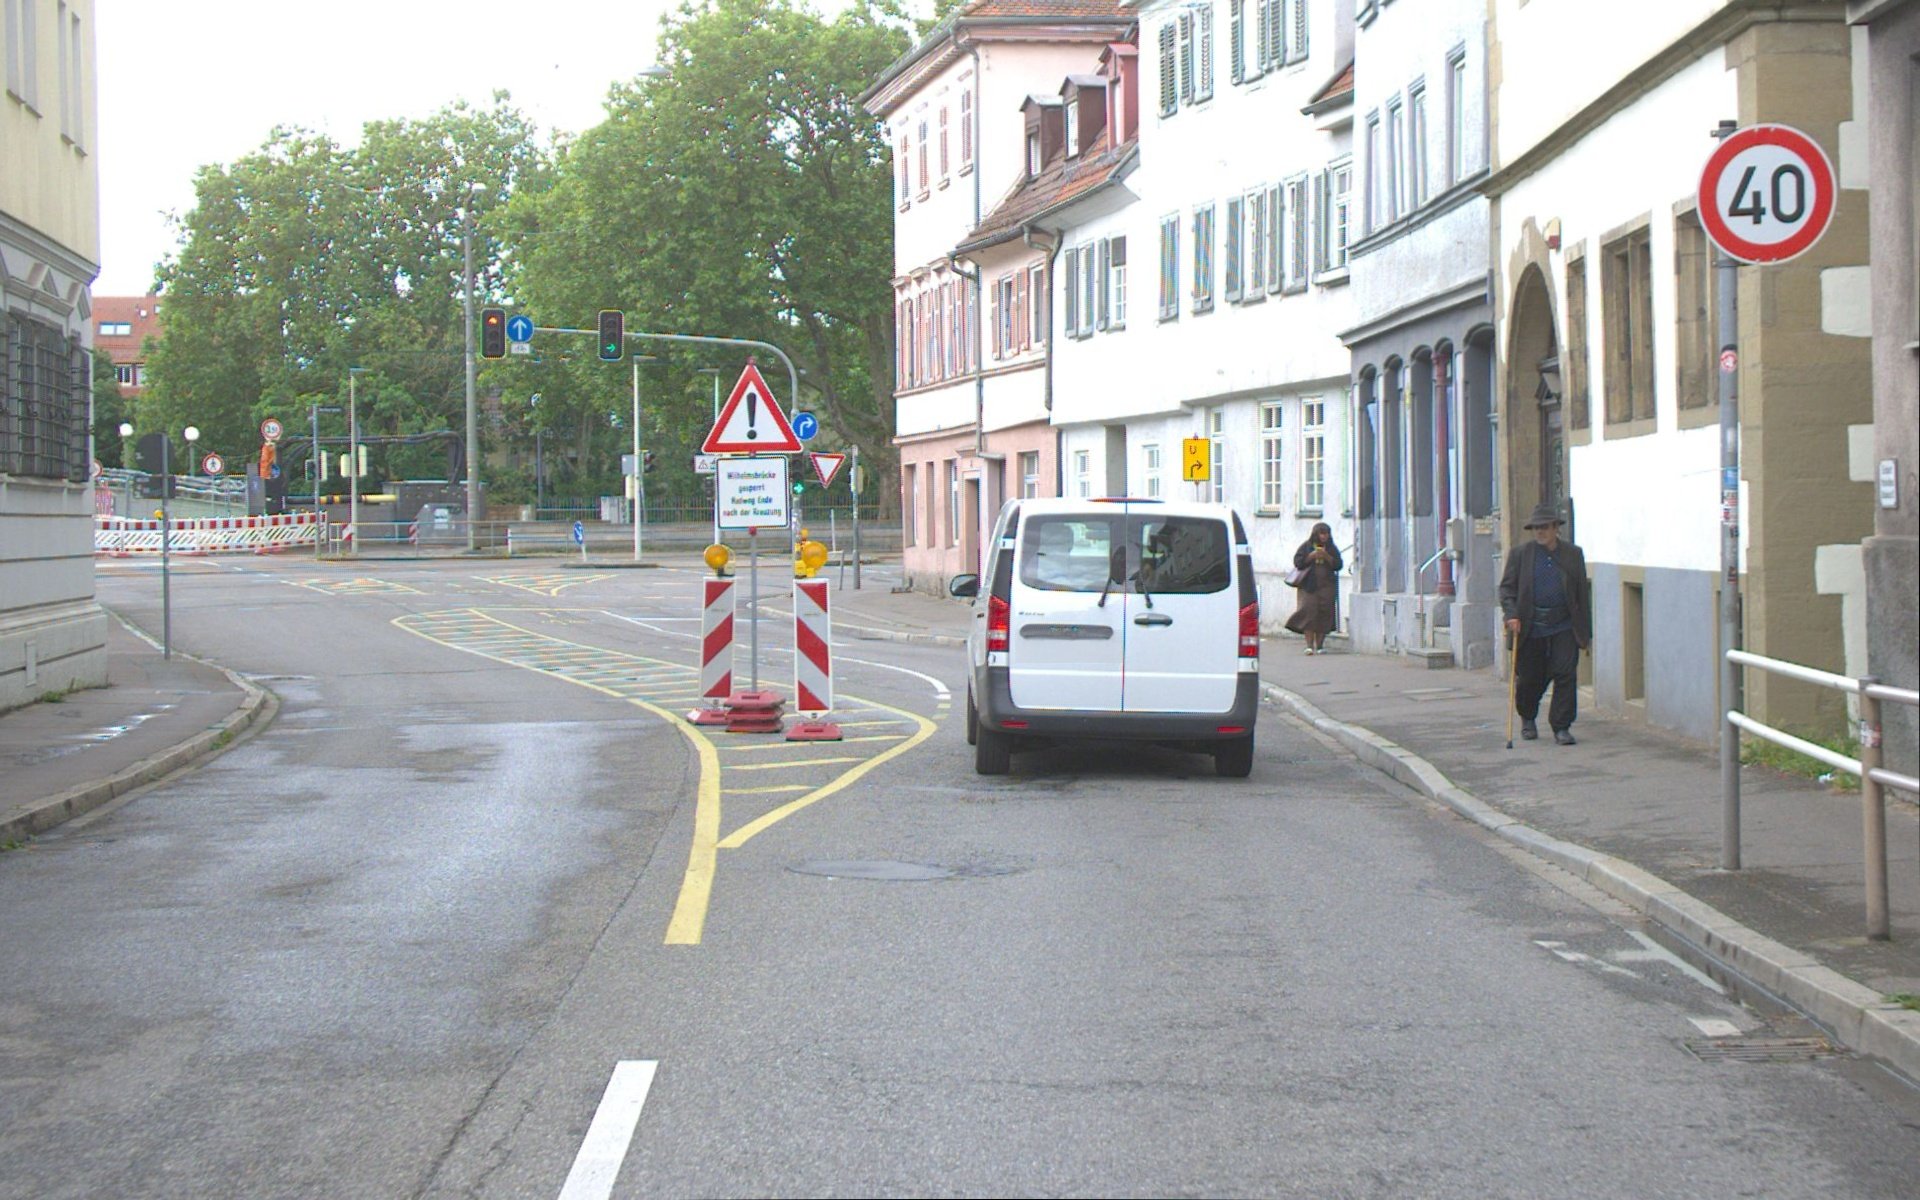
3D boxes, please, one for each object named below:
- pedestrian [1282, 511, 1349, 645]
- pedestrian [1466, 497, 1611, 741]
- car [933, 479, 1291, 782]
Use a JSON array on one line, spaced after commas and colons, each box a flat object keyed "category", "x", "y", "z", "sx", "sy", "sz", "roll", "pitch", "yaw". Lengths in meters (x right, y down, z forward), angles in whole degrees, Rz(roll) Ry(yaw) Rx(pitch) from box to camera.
[{"category": "pedestrian", "x": 4.438, "y": -0.281, "z": 42.965, "sx": 0.755, "sy": 1.662, "sz": 0.809, "roll": 0, "pitch": 1, "yaw": 1}, {"category": "pedestrian", "x": 4.038, "y": 0.121, "z": 24.061, "sx": 0.832, "sy": 1.650, "sz": 0.944, "roll": -2, "pitch": 1, "yaw": 2}, {"category": "car", "x": 0.968, "y": 0.170, "z": 24.313, "sx": 1.993, "sy": 1.916, "sz": 4.249, "roll": 1, "pitch": 1, "yaw": -4}]
